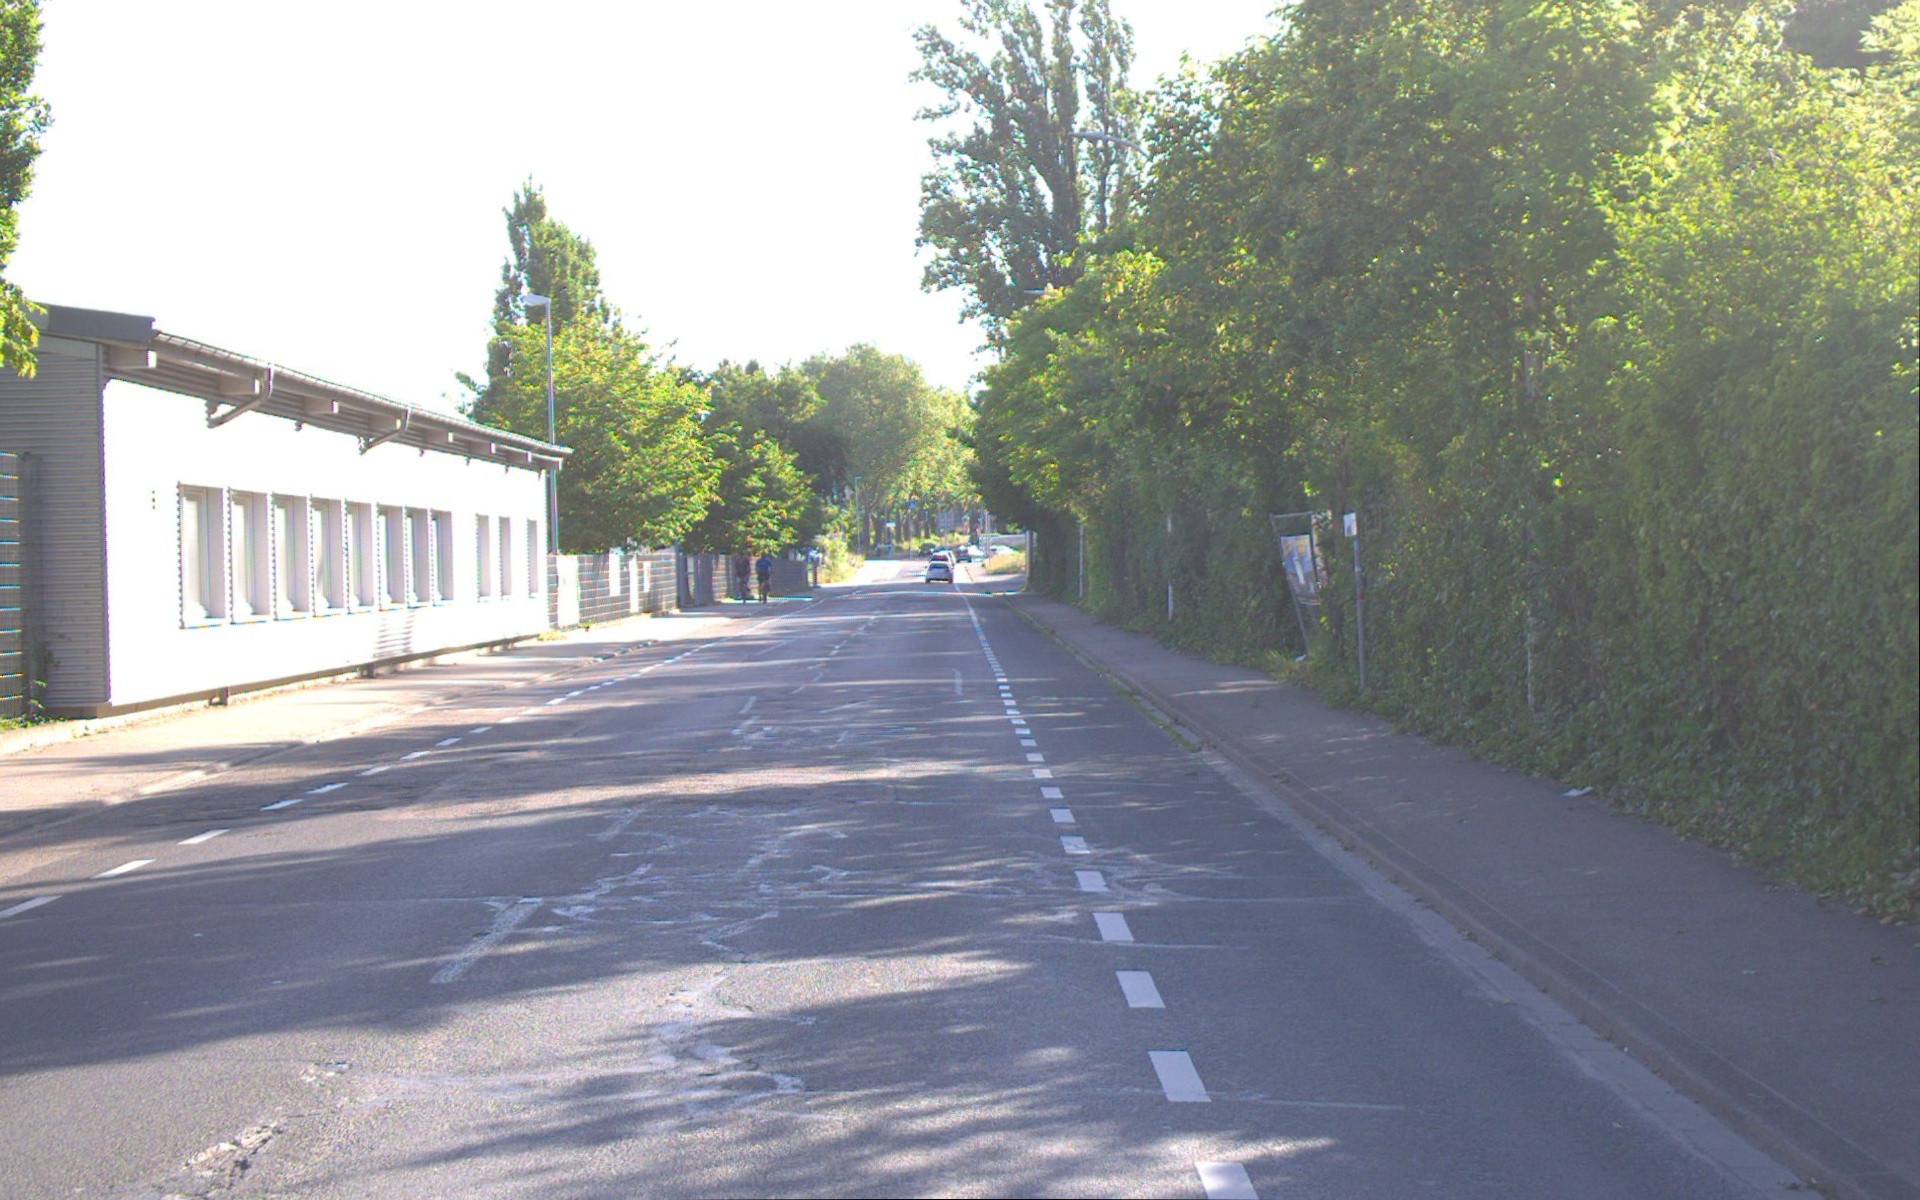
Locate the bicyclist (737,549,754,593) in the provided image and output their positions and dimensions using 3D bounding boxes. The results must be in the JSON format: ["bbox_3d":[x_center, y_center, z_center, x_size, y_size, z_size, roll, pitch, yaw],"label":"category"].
[{"bbox_3d":[-7.600,-1.026,121.820,0.560,1.528,0.689,0,0,0],"label":"bicyclist"}]

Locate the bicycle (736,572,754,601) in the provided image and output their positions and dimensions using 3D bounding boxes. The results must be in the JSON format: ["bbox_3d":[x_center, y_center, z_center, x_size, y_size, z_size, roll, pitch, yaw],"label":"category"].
[{"bbox_3d":[-7.611,-0.470,121.900,0.563,1.030,1.351,0,0,0],"label":"bicycle"}]

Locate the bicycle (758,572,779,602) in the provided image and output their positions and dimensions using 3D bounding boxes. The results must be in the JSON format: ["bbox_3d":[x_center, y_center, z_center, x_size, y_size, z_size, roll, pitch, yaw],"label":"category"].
[{"bbox_3d":[-6.761,-0.456,121.339,0.689,1.030,1.351,0,0,0],"label":"bicycle"}]

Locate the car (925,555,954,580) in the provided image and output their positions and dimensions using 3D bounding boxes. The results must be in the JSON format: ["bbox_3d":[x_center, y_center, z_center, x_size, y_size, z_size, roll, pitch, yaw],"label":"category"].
[{"bbox_3d":[-1.378,-2.156,230.040,1.942,1.645,4.309,0,0,0],"label":"car"}]

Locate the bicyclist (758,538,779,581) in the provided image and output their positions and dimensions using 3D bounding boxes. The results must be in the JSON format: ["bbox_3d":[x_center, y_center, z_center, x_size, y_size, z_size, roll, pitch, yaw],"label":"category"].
[{"bbox_3d":[-6.760,-1.424,121.447,0.689,1.527,0.722,0,0,0],"label":"bicyclist"}]
